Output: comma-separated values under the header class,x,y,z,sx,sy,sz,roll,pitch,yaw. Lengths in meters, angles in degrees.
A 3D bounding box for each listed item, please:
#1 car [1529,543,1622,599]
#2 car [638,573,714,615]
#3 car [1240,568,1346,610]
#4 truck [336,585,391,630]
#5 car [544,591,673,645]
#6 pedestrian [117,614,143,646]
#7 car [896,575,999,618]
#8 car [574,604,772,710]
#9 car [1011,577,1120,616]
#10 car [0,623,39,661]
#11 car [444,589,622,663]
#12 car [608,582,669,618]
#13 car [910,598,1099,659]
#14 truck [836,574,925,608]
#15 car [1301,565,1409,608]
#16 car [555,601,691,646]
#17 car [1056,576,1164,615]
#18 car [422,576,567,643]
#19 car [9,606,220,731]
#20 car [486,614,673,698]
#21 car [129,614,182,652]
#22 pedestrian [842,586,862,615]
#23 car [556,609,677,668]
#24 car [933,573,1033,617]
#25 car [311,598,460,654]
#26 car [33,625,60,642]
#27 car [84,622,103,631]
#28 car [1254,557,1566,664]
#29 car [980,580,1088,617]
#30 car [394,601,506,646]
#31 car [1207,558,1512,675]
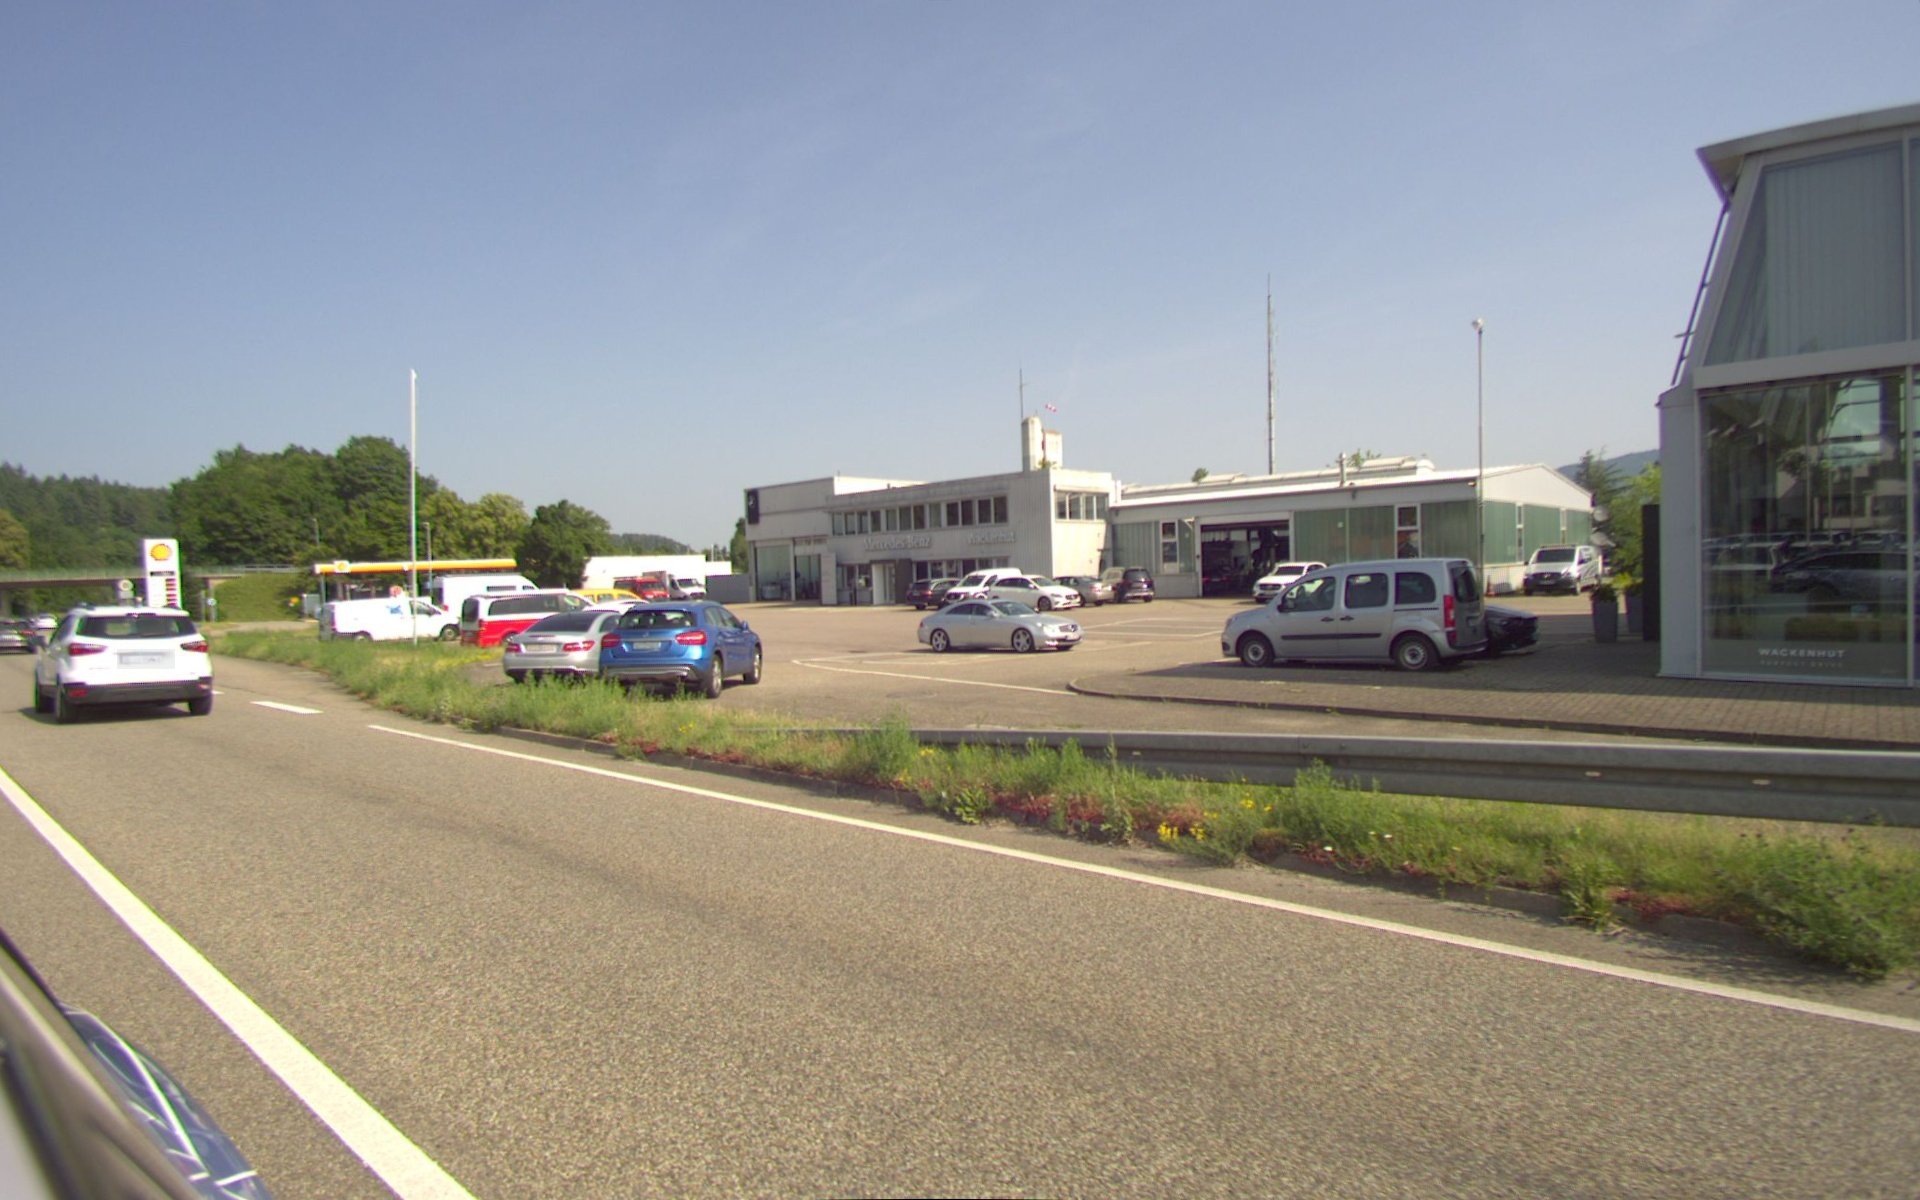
class,x,y,z,sx,sy,sz,roll,pitch,yaw
car,24.587,-1.142,40.348,2.211,2.038,4.762,-3,-1,43
car,-20.920,-0.433,74.434,6.530,2.877,2.368,-2,0,44
car,14.089,-0.480,42.708,4.758,1.578,2.213,-2,-1,-43
truck,-60.344,0.715,102.696,3.010,4.165,16.828,-1,0,-25
car,-13.956,0.686,40.359,2.001,1.821,4.334,-2,2,42
pedestrian,-44.555,1.609,54.334,0.836,1.702,1.147,-1,0,-27
car,-0.566,-0.189,49.291,2.212,1.868,4.761,-3,-1,44
car,-4.650,0.860,17.101,1.959,1.518,4.229,-2,0,3
car,4.766,-0.145,46.177,4.831,1.578,1.785,-3,-1,43
car,-38.946,1.686,41.384,1.730,1.486,4.293,0,-1,-41
car,-13.786,0.790,32.877,2.228,1.996,4.741,-2,2,42
car,-22.880,0.045,71.827,5.225,2.404,1.859,-2,0,44
car,1.050,0.754,26.046,4.831,1.397,1.785,-3,-1,43
truck,-5.839,-0.680,75.151,2.451,2.375,6.804,-1,0,42
car,16.086,-0.566,41.139,4.758,1.578,2.213,-2,-1,-43
car,-12.592,0.847,38.035,1.966,1.409,4.417,-1,1,42
car,6.971,-0.203,47.372,4.831,1.578,1.785,-3,-1,43
car,-21.787,0.402,47.575,2.286,2.765,5.657,-1,2,44
car,-12.925,0.953,15.390,4.224,1.642,1.774,-1,-1,40
car,-7.248,1.011,19.802,1.829,1.378,4.391,-2,0,3
car,-38.166,1.577,47.979,1.789,1.642,4.547,1,-4,-41
pedestrian,-6.303,0.019,58.970,0.850,1.702,0.811,-1,0,41
car,-9.847,1.054,29.364,1.873,1.413,4.227,-2,1,3
car,1.145,-0.257,47.818,1.953,1.868,4.761,-3,-1,44
car,-22.445,0.990,39.669,2.143,1.871,4.621,-2,1,42
car,-84.799,3.085,93.979,1.656,1.484,3.713,0,-1,-40
car,-118.703,3.575,138.626,1.780,1.181,4.108,0,-1,-38
car,8.174,0.243,18.754,4.939,1.726,1.785,-3,-1,43
car,3.190,-0.054,44.226,4.568,1.503,1.785,-1,1,43
car,-24.728,1.102,49.168,1.987,1.853,4.397,-2,2,42
car,6.614,0.301,17.098,4.409,1.726,1.785,-3,-1,44
